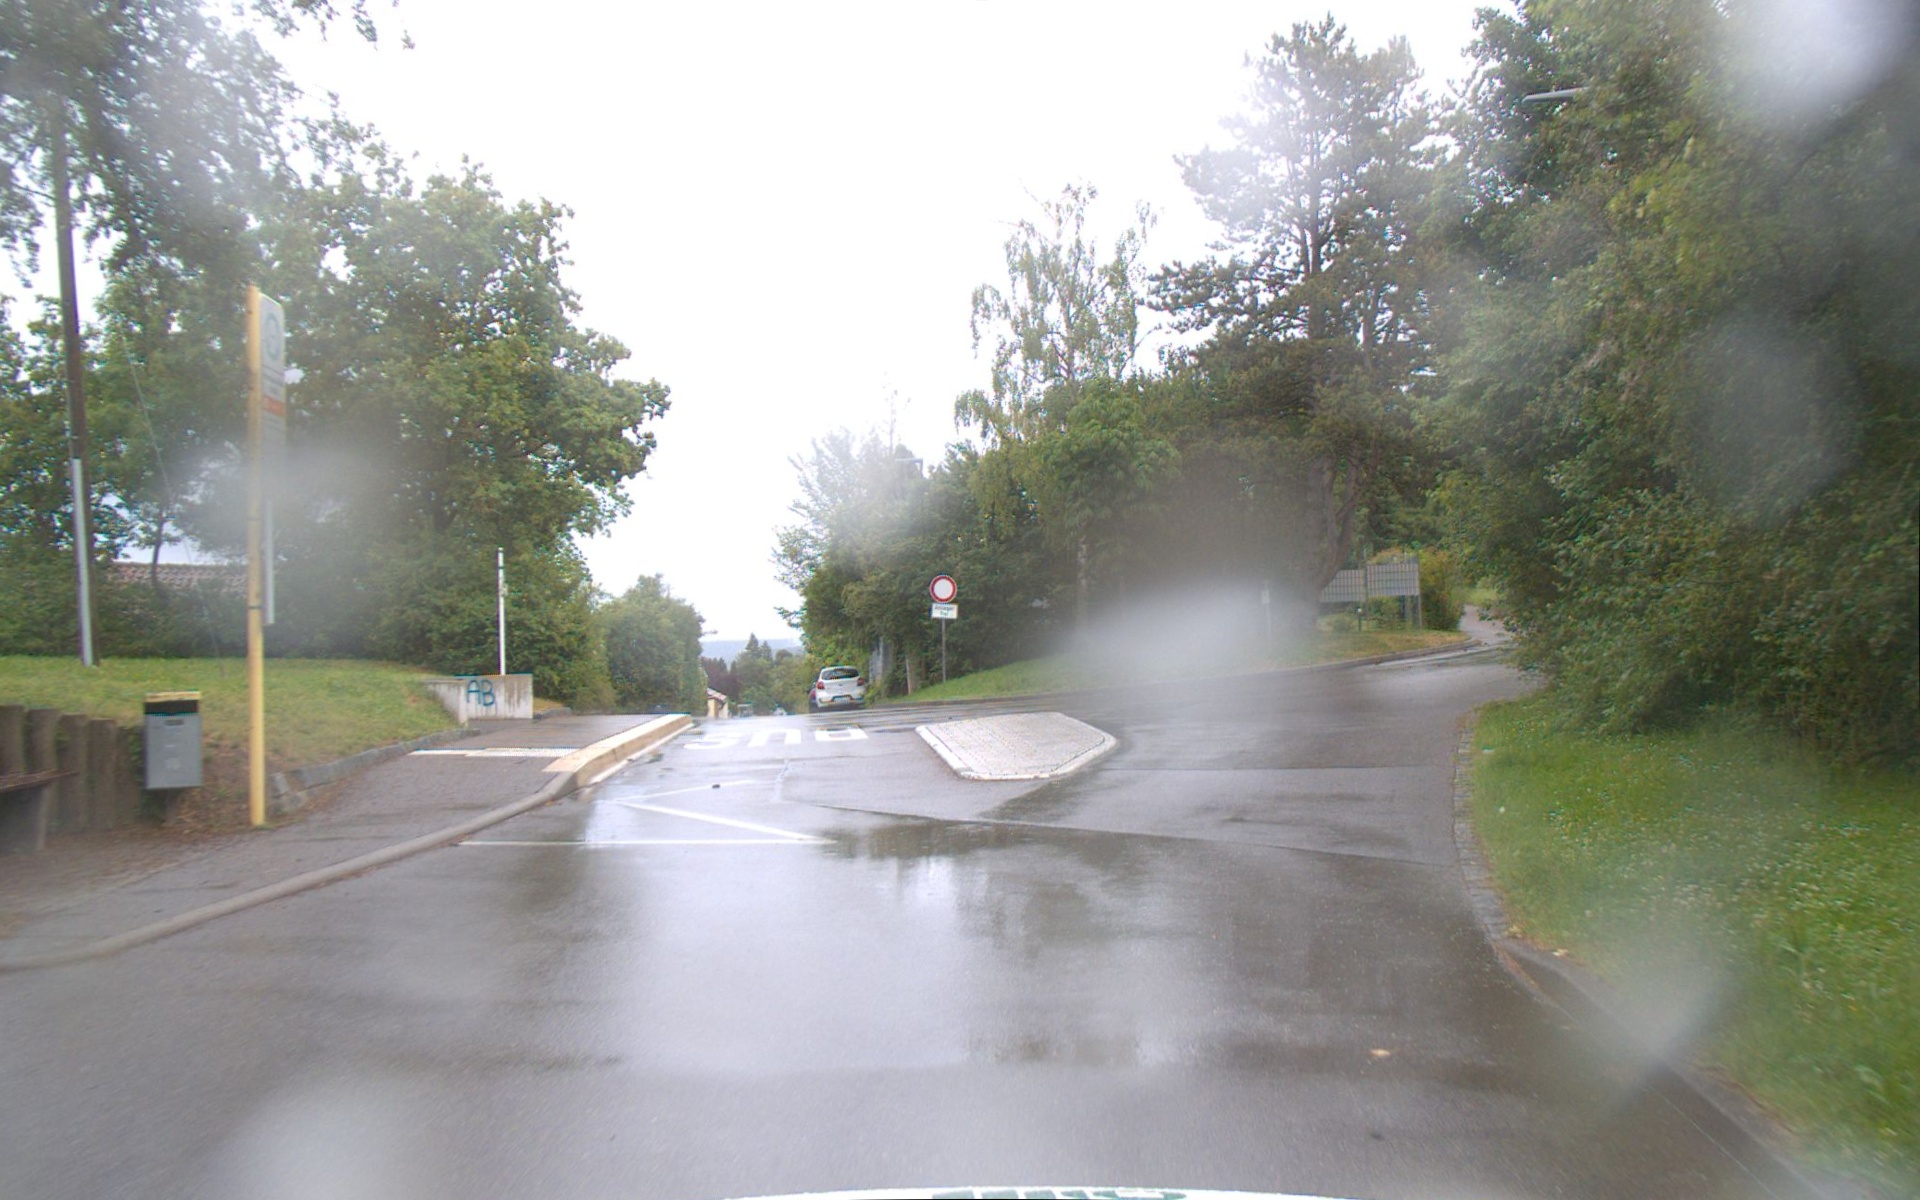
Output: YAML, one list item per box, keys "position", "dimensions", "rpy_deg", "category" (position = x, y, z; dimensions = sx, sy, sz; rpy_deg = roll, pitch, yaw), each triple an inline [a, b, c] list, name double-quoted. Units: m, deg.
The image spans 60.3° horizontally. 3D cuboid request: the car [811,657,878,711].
- position: [-3.736, 2.784, 54.190]
  dimensions: [1.953, 1.611, 3.998]
  rpy_deg: [-1, -4, -1]
  category: "car"
